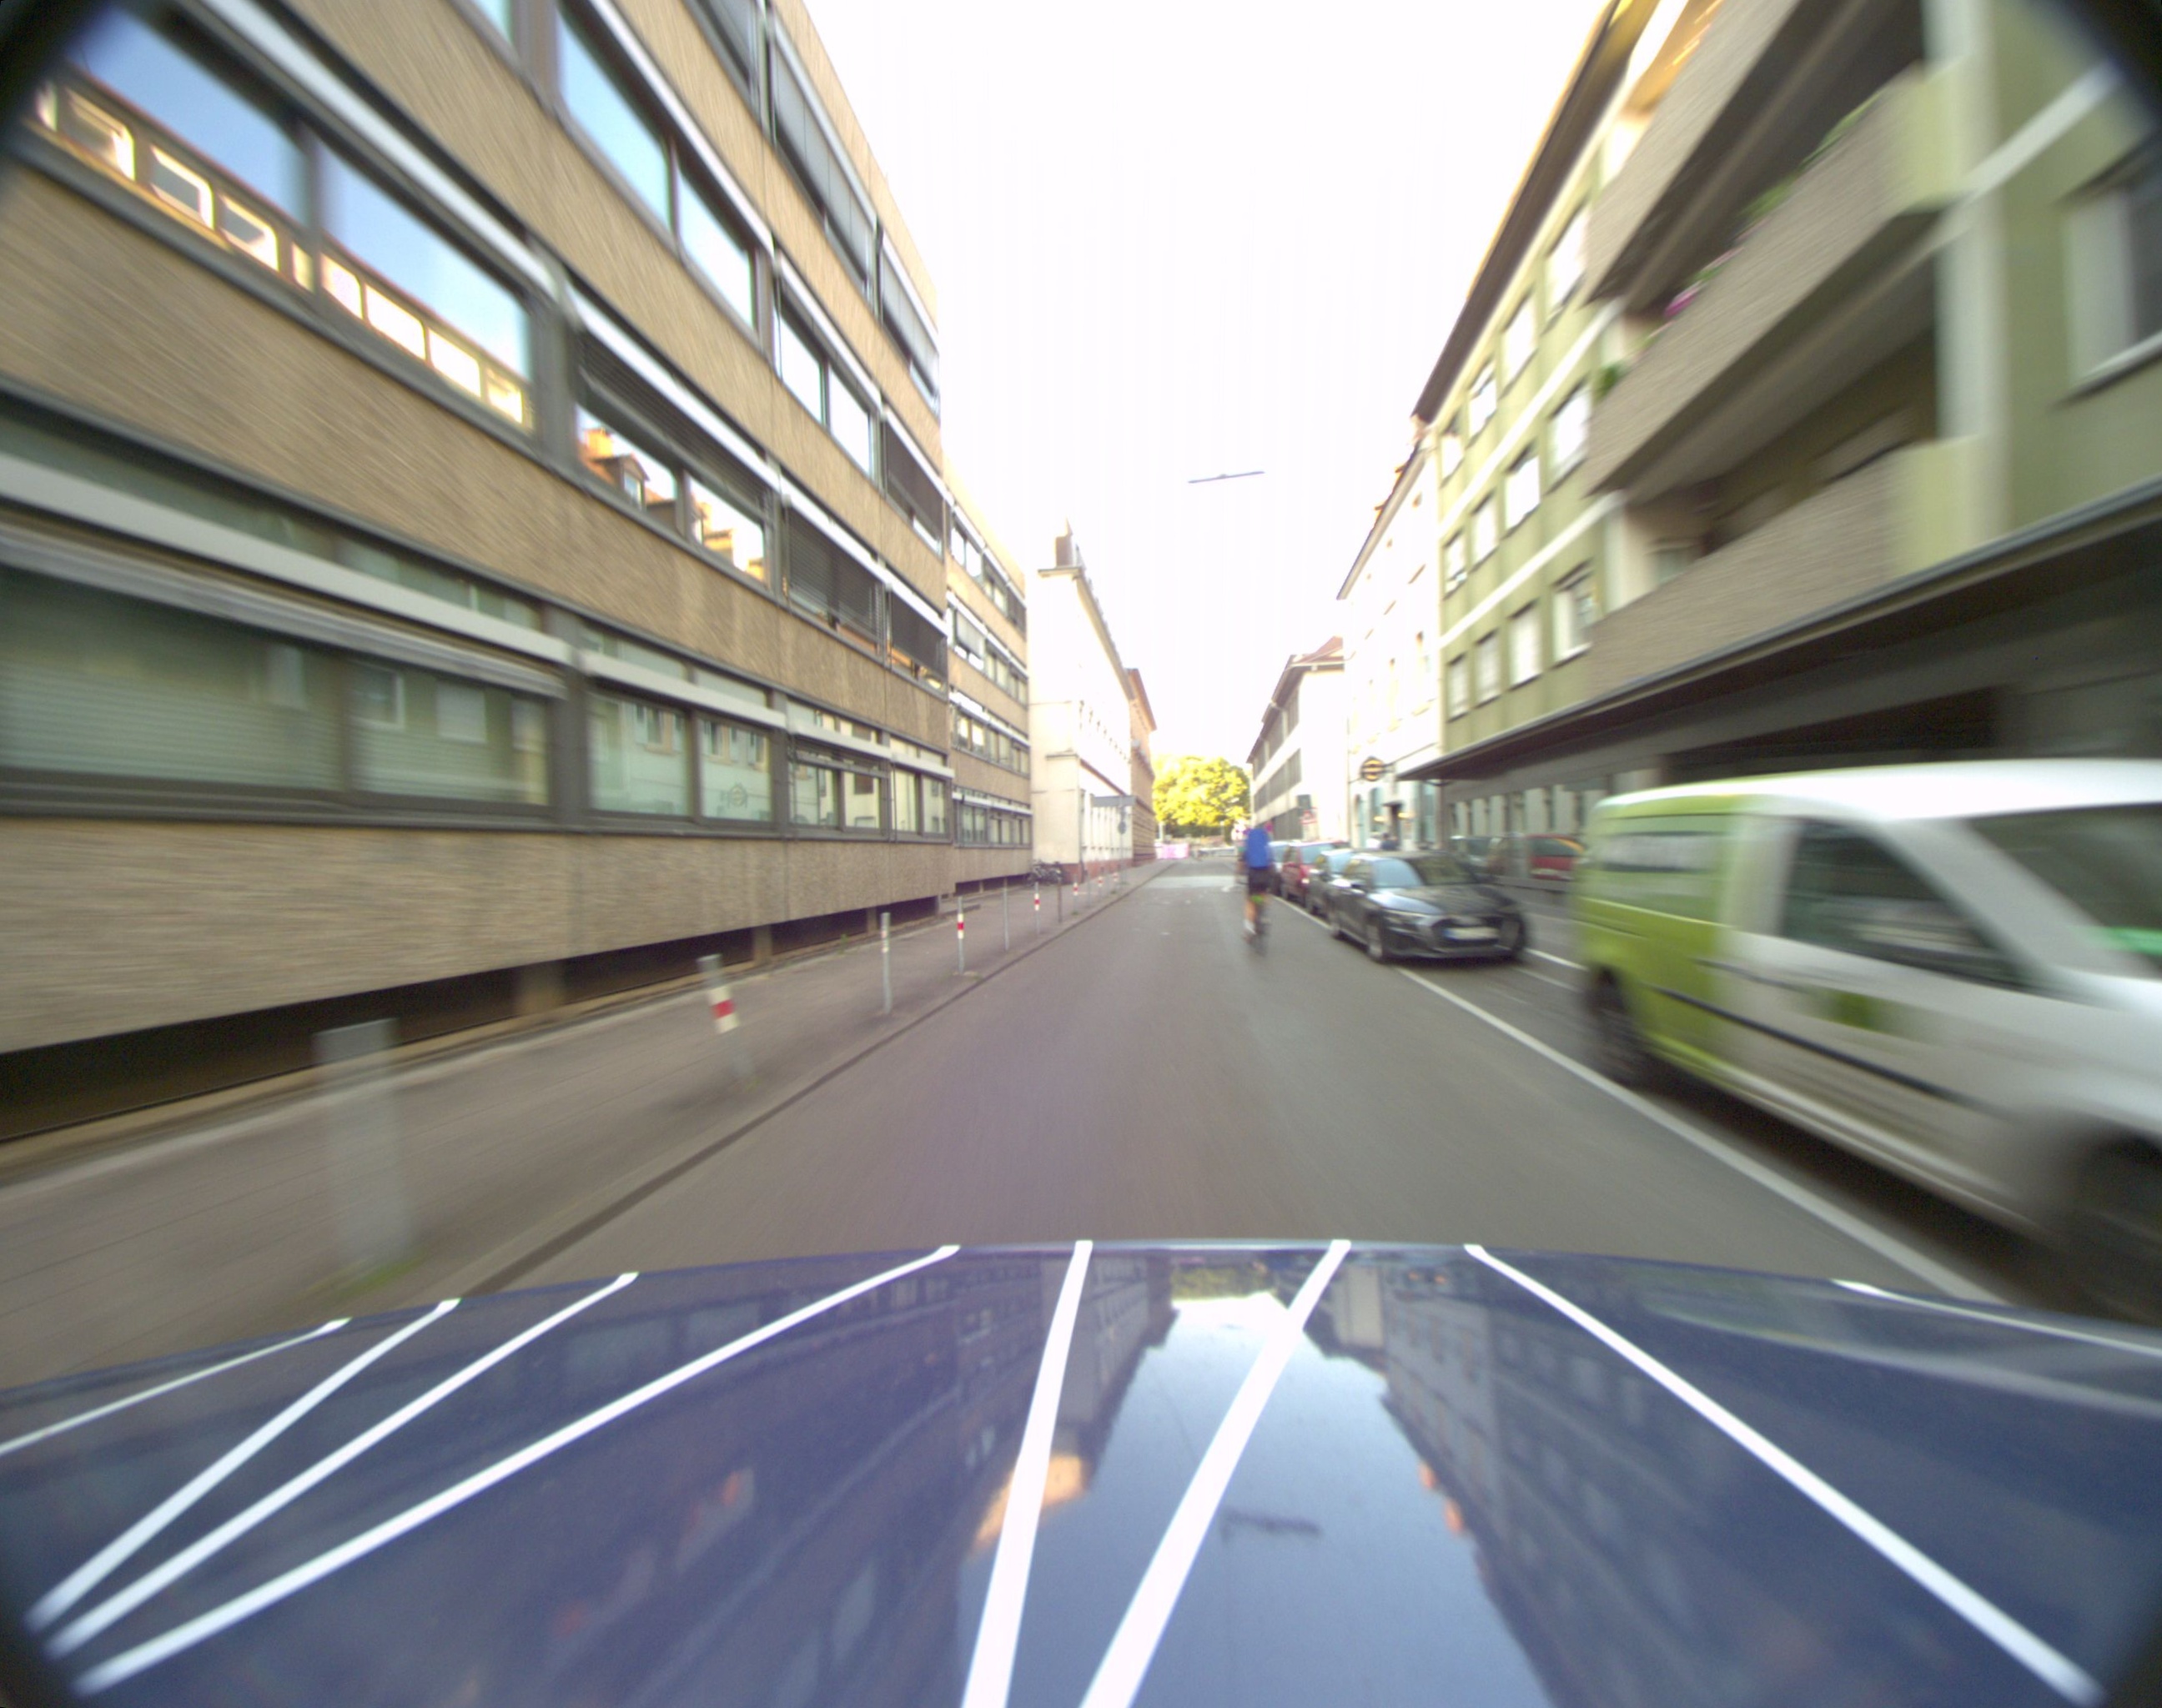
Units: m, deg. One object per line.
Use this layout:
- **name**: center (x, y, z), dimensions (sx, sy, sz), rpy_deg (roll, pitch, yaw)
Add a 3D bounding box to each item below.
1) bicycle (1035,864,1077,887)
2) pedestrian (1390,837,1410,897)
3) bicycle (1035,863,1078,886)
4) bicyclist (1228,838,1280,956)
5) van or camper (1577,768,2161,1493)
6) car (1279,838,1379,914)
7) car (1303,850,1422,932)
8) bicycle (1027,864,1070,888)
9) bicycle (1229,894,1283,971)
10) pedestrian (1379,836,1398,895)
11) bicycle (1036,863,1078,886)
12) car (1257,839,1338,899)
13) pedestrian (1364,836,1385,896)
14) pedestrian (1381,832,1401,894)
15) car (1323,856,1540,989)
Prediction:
- **bicycle**: center (-1.088, 0.920, 33.224), dimensions (1.799, 0.917, 0.517), rpy_deg (-2, 1, 1)
- **pedestrian**: center (9.296, 0.370, 22.141), dimensions (0.407, 1.740, 0.470), rpy_deg (-2, 1, 10)
- **bicycle**: center (-1.046, 0.879, 32.450), dimensions (1.799, 0.917, 0.538), rpy_deg (-2, 1, 1)
- **bicyclist**: center (2.510, 0.589, 11.105), dimensions (0.624, 1.630, 1.082), rpy_deg (-2, 1, 9)
- **van or camper**: center (3.781, 0.671, 2.792), dimensions (1.775, 1.837, 4.181), rpy_deg (-1, 1, 10)
- **car**: center (6.655, 0.524, 20.824), dimensions (1.776, 1.801, 4.512), rpy_deg (-2, 1, 8)
- **car**: center (5.799, 0.692, 16.084), dimensions (1.627, 1.476, 3.880), rpy_deg (-1, 1, 9)
- **bicycle**: center (-1.353, 0.899, 31.673), dimensions (1.743, 0.917, 0.538), rpy_deg (-2, 1, 2)
- **bicycle**: center (2.533, 1.112, 11.140), dimensions (0.635, 0.917, 1.780), rpy_deg (-2, 1, 9)
- **pedestrian**: center (9.210, 0.347, 22.735), dimensions (0.407, 1.740, 0.470), rpy_deg (-2, 1, 10)
- **bicycle**: center (-1.056, 0.912, 33.796), dimensions (1.799, 0.917, 0.396), rpy_deg (-2, 1, 5)
- **car**: center (7.258, 0.442, 25.926), dimensions (1.881, 1.801, 4.452), rpy_deg (-2, 1, 6)
- **pedestrian**: center (8.666, 0.348, 22.438), dimensions (0.450, 1.740, 0.470), rpy_deg (-2, 1, 10)
- **pedestrian**: center (8.826, 0.245, 21.616), dimensions (0.407, 1.740, 0.470), rpy_deg (-2, 1, 10)
- **car**: center (4.643, 0.799, 10.689), dimensions (1.627, 1.408, 3.982), rpy_deg (-2, 1, 8)
